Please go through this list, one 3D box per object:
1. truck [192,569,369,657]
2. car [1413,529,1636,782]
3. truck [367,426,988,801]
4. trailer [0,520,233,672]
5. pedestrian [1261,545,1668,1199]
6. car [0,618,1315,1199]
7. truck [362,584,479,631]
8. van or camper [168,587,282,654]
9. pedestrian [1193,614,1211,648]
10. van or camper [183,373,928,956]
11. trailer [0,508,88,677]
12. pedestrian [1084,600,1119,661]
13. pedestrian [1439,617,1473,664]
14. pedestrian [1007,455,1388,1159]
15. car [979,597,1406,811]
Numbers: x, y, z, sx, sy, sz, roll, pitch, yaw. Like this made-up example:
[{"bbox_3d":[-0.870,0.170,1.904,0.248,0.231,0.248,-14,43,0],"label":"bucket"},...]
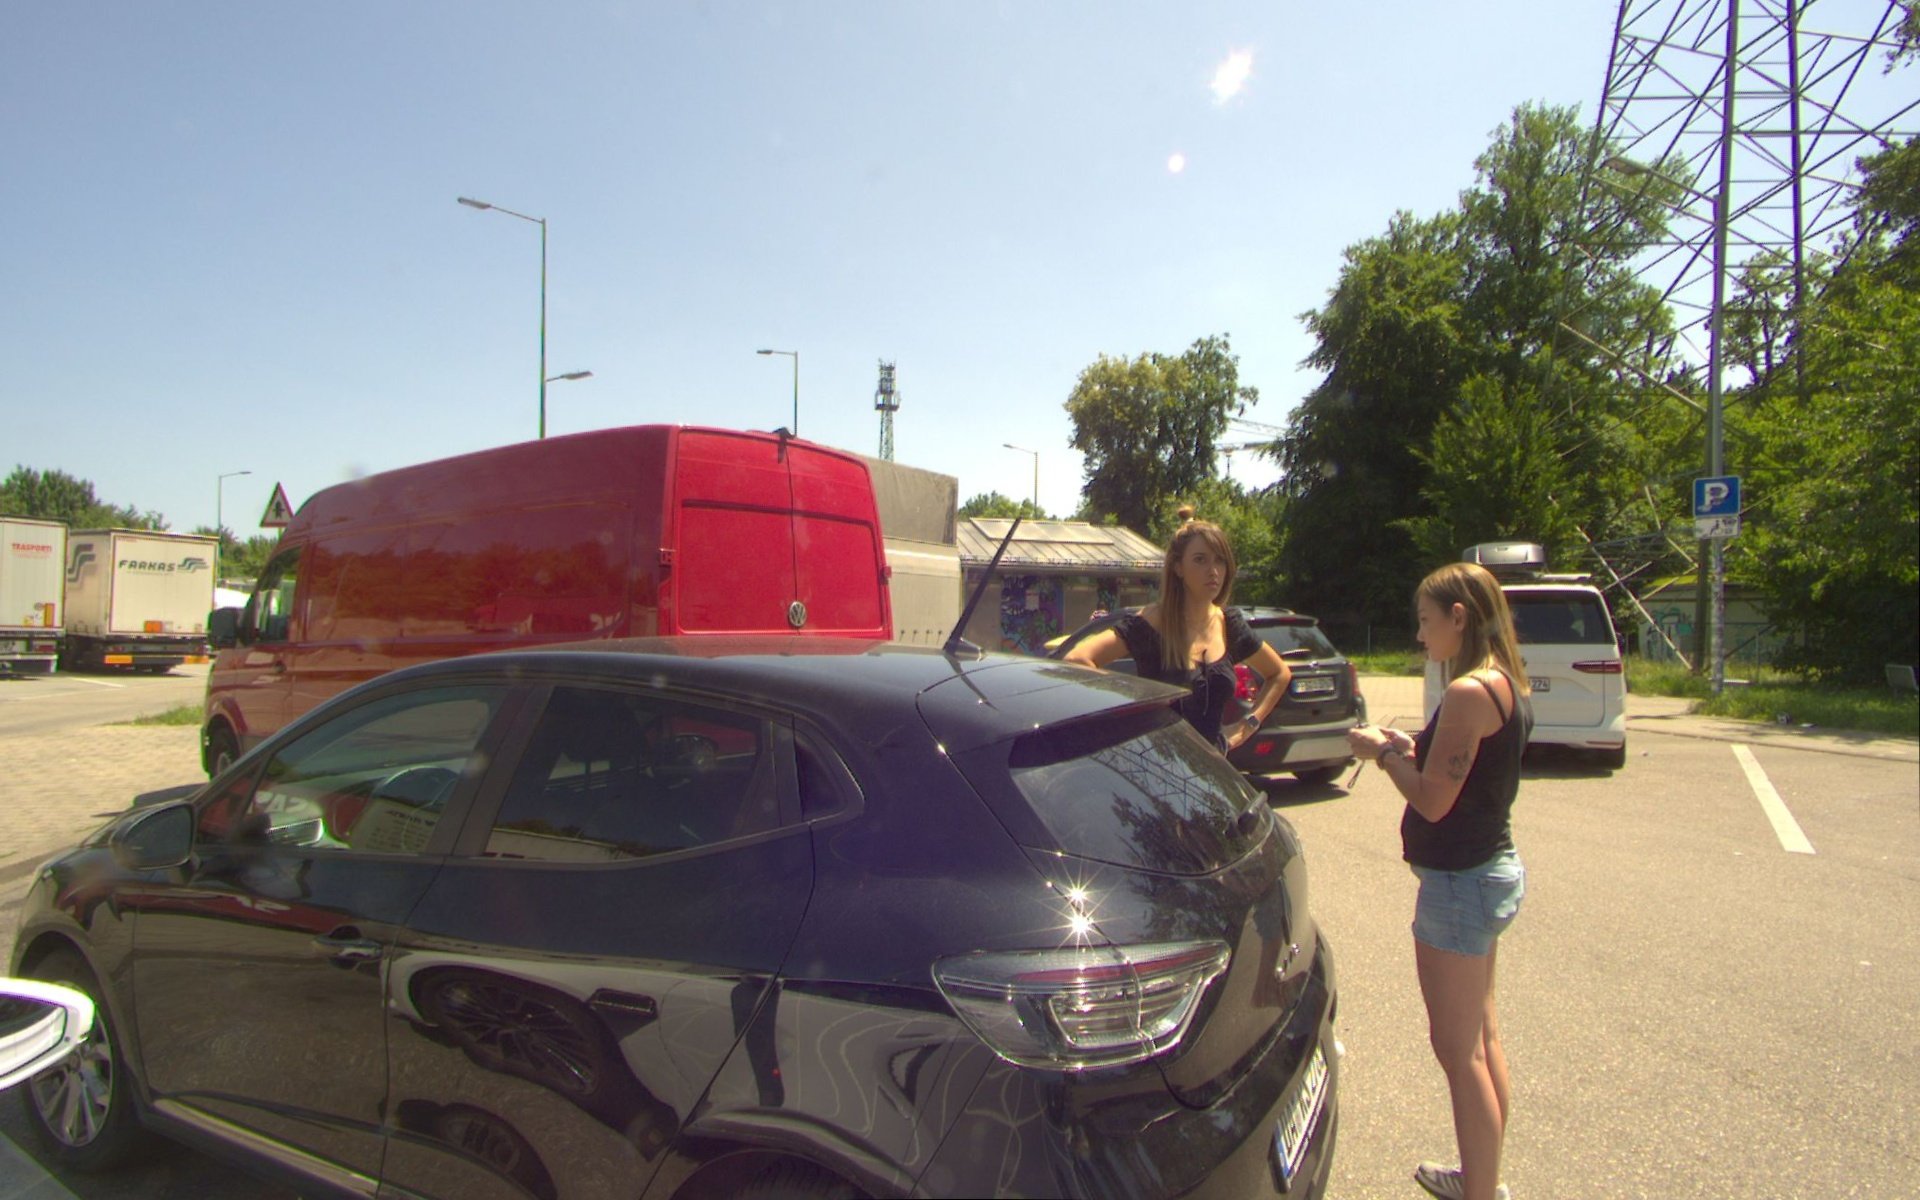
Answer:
[{"bbox_3d":[-31.692,0.503,46.456,11.255,3.615,2.484,2,-1,33],"label":"truck"},{"bbox_3d":[6.540,0.563,11.538,1.892,2.354,4.074,-1,-1,32],"label":"car"},{"bbox_3d":[-3.261,0.130,10.538,6.874,2.828,2.460,0,-1,35],"label":"truck"},{"bbox_3d":[-27.294,-0.202,31.444,12.255,4.090,2.862,2,-1,33],"label":"trailer"},{"bbox_3d":[1.240,0.701,2.519,0.644,1.606,0.646,1,0,-26],"label":"pedestrian"},{"bbox_3d":[-1.060,0.833,2.825,3.706,1.503,1.615,0,-1,27],"label":"car"},{"bbox_3d":[-34.721,0.461,64.258,9.637,2.857,2.121,0,-1,33],"label":"truck"},{"bbox_3d":[-30.411,0.817,41.366,5.296,2.595,2.100,0,-1,34],"label":"van or camper"},{"bbox_3d":[11.128,1.440,46.048,0.577,1.536,0.592,1,0,-10],"label":"pedestrian"},{"bbox_3d":[-3.366,0.321,7.332,6.394,2.688,1.990,0,-1,36],"label":"van or camper"},{"bbox_3d":[-28.354,-0.331,27.779,12.255,4.090,2.862,2,-1,33],"label":"trailer"},{"bbox_3d":[3.829,0.824,27.085,0.742,1.629,0.765,1,0,-8],"label":"pedestrian"},{"bbox_3d":[14.972,1.226,30.229,0.695,1.392,0.607,1,0,-3],"label":"pedestrian"},{"bbox_3d":[0.739,0.573,3.242,0.902,1.896,0.771,1,0,-24],"label":"pedestrian"},{"bbox_3d":[2.042,0.840,9.905,1.825,1.644,4.026,1,-1,-32],"label":"car"}]
